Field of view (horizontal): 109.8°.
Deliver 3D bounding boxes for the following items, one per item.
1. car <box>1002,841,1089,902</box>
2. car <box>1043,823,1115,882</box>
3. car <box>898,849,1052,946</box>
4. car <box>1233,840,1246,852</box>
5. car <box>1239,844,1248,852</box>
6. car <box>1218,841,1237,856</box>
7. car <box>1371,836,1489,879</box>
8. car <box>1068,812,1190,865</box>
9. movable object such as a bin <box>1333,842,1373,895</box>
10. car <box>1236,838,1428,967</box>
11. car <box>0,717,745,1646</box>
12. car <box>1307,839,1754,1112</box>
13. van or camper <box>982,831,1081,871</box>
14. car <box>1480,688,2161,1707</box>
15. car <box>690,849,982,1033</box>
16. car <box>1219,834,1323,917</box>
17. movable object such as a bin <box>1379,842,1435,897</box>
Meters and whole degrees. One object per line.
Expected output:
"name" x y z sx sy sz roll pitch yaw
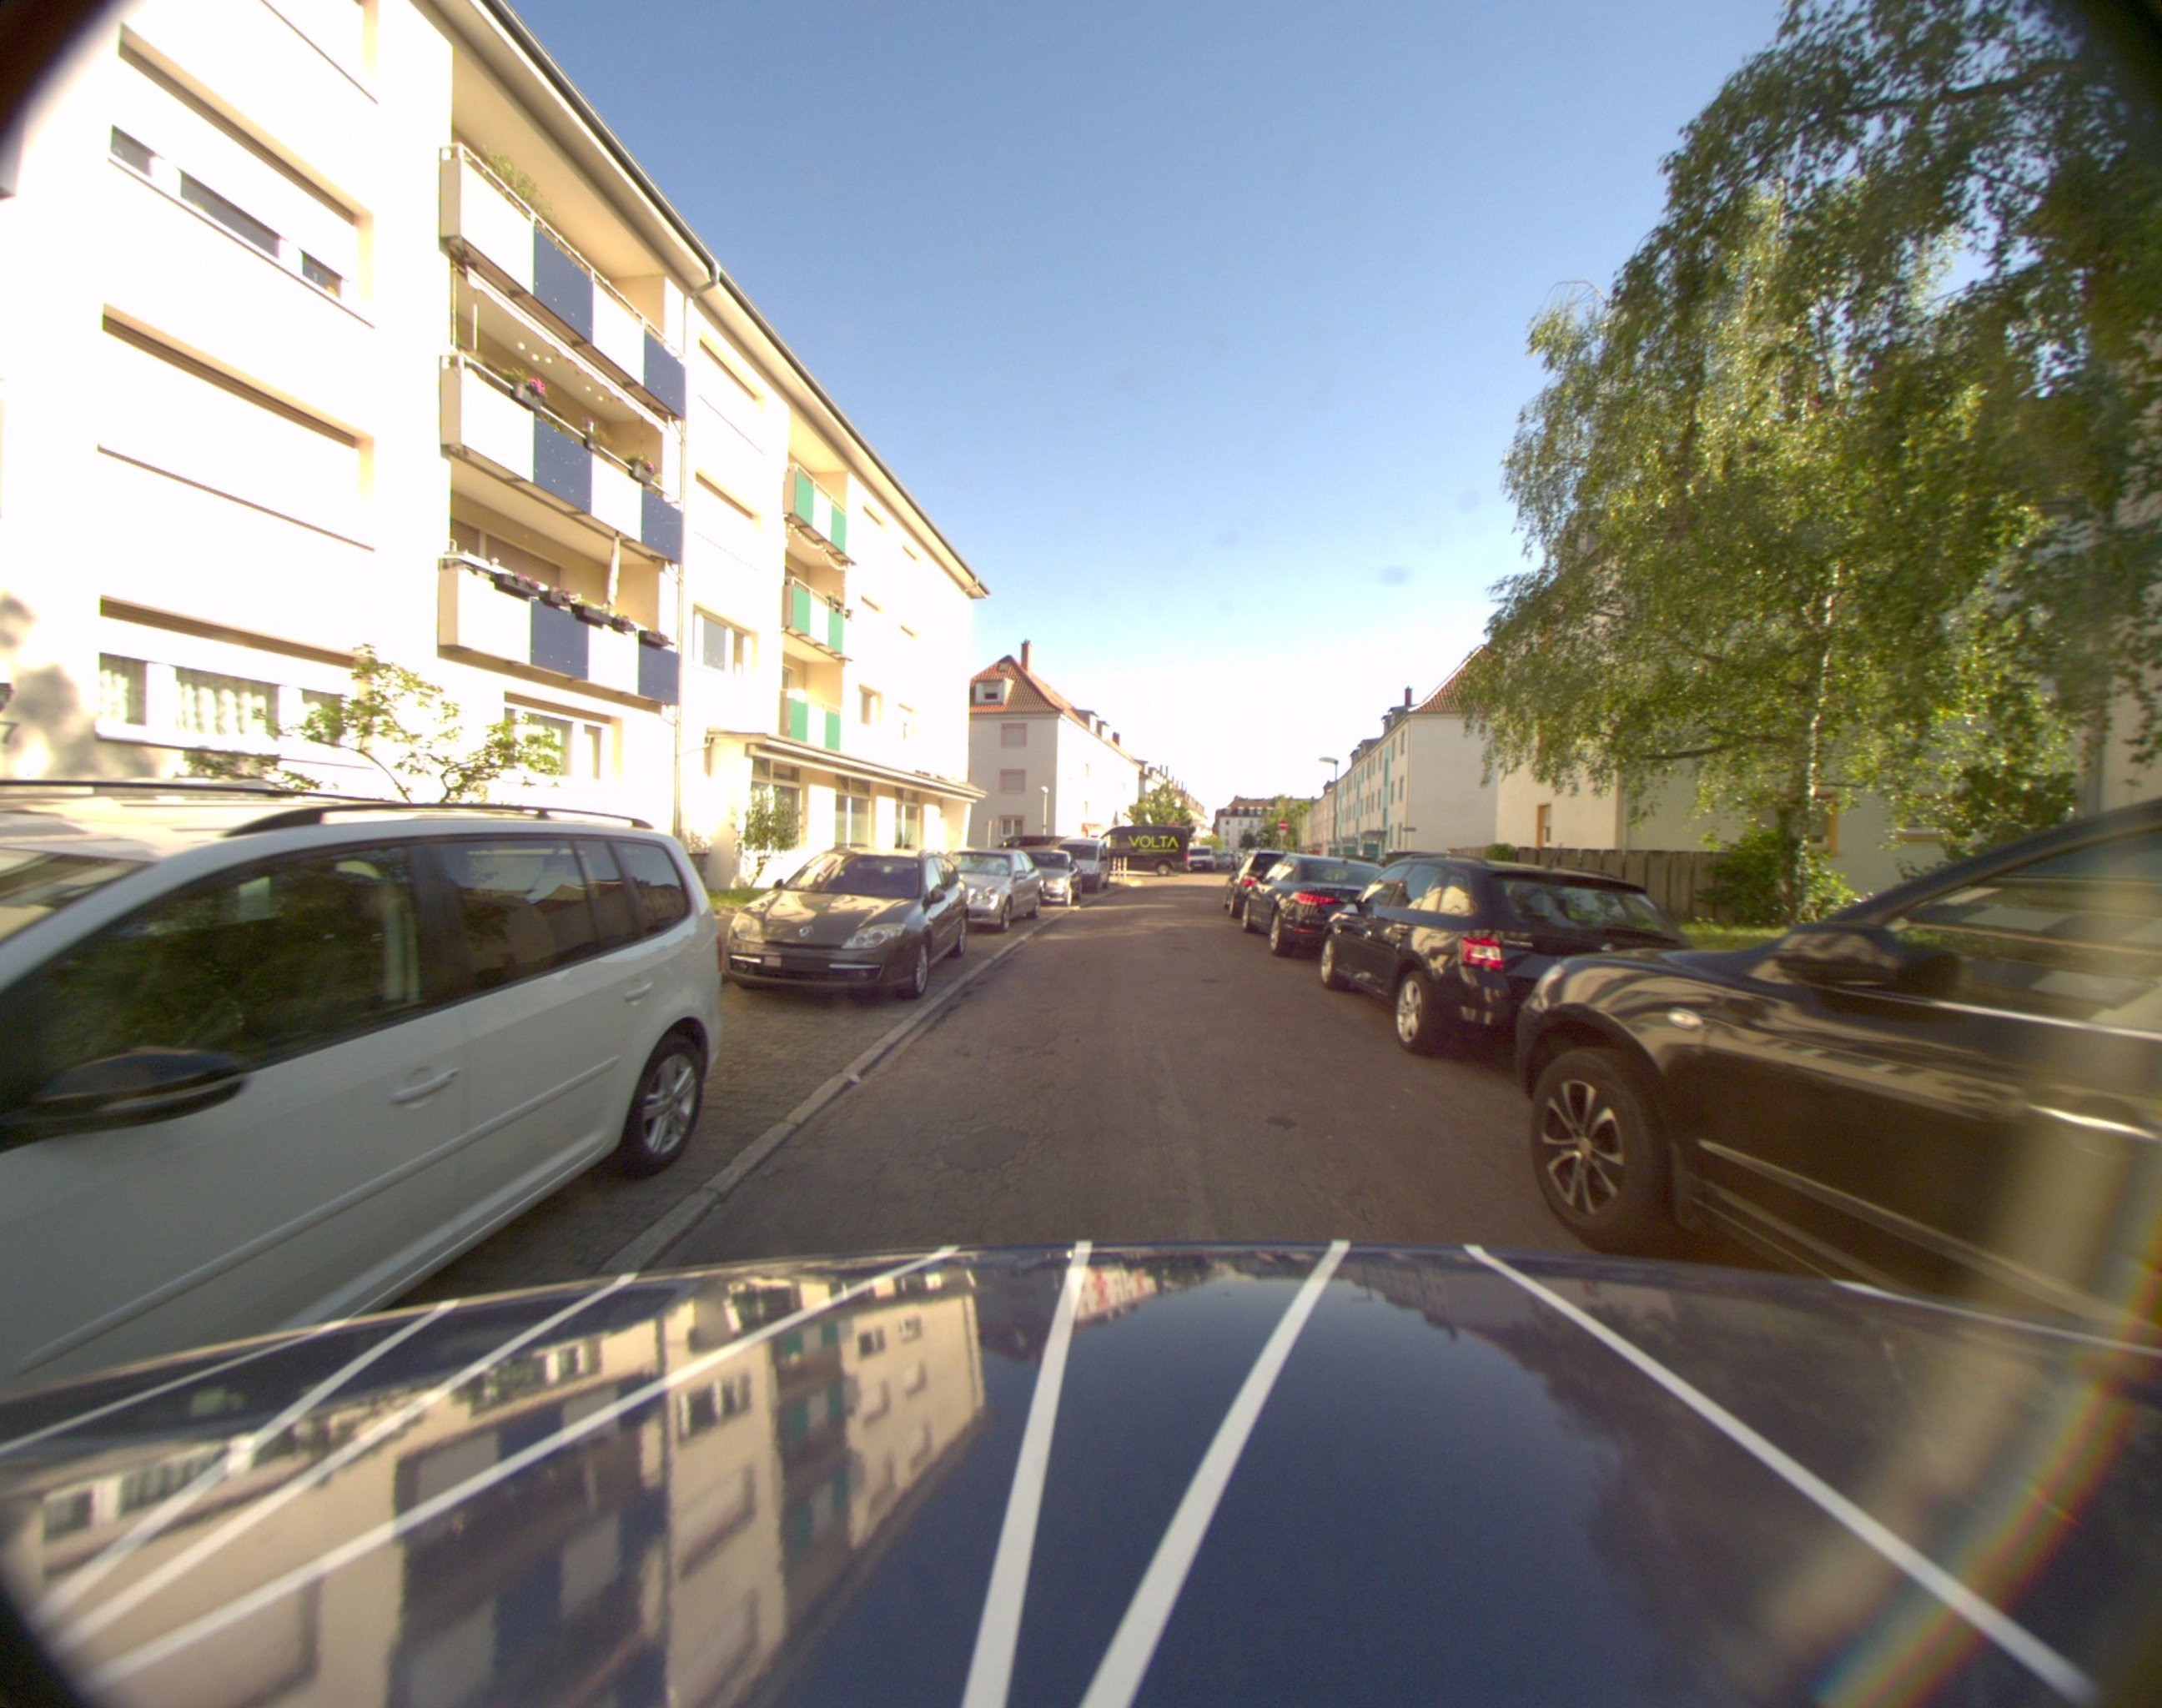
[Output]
"car" -0.857 0.390 20.926 1.681 1.399 4.546 2 2 6
"car" 0.012 -0.101 26.356 1.750 1.814 4.133 3 2 9
"car" -1.817 0.677 14.617 1.681 1.439 4.725 2 2 8
"car" 27.746 -1.461 133.082 1.951 1.890 4.768 2 2 14
"car" 33.332 -1.276 155.664 1.706 1.562 3.929 2 2 14
"car" 16.208 -0.645 83.978 1.729 1.597 4.428 2 1 13
"car" 15.635 0.112 34.274 4.494 1.655 1.720 3 3 13
"car" 2.424 -0.792 38.525 5.955 2.530 2.000 1 1 2
"movable object such as a bin" 7.443 0.365 20.857 0.777 1.385 1.418 2 2 11
"car" 3.498 0.547 11.442 1.681 1.434 4.280 5 2 5
"car" -2.724 0.537 1.930 1.698 1.646 4.389 3 1 1
"car" 3.175 0.661 6.397 1.558 1.434 3.968 5 2 5
"van or camper" -2.727 -0.151 42.306 5.132 2.002 2.002 2 0 10
"car" 2.602 0.626 1.152 1.559 1.705 4.336 4 2 0
"car" -2.358 0.708 8.683 1.698 1.423 4.687 3 1 1
"car" 4.038 0.356 16.791 1.681 1.445 4.622 5 2 9
"movable object such as a bin" 8.518 0.393 19.883 1.221 1.373 0.768 1 2 16
